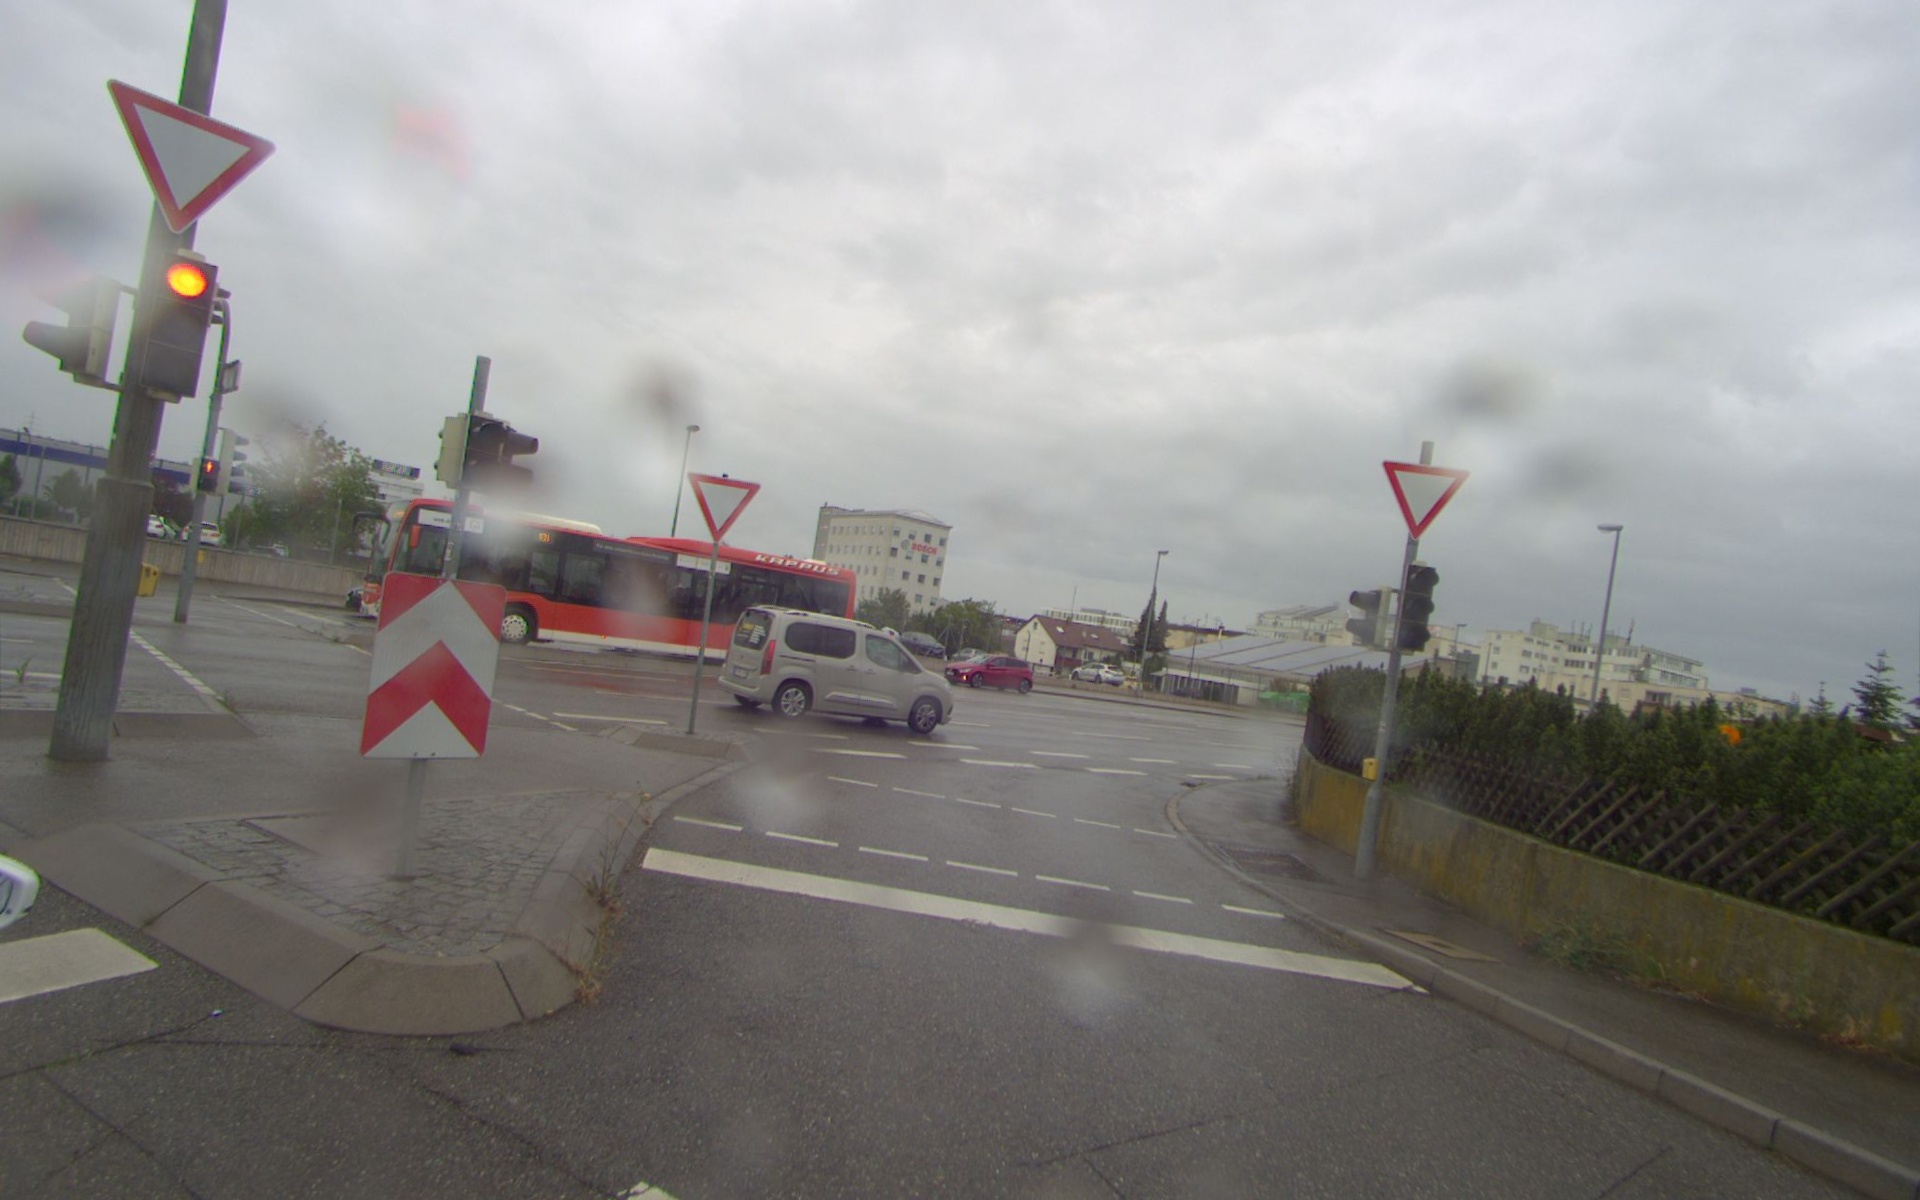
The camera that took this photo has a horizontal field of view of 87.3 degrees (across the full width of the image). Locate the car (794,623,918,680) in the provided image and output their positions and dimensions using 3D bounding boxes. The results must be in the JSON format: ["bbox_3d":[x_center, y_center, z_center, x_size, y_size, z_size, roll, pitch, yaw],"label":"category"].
[{"bbox_3d":[-3.896,1.981,38.186,4.367,1.555,1.804,10,-3,-42],"label":"car"}]

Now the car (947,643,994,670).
[{"bbox_3d":[0.812,4.696,83.665,1.980,1.636,3.970,9,-2,-30],"label":"car"}]

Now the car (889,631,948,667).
[{"bbox_3d":[-2.584,2.981,61.639,1.912,1.684,3.869,9,-2,-29],"label":"car"}]

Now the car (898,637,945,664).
[{"bbox_3d":[-3.155,4.080,81.378,1.980,1.636,3.970,9,-2,-30],"label":"car"}]

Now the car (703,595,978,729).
[{"bbox_3d":[-2.096,1.172,18.324,4.450,1.865,1.979,9,-2,-38],"label":"car"}]

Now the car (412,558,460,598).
[{"bbox_3d":[-30.712,-1.321,58.957,1.734,2.037,3.786,8,-2,-37],"label":"car"}]

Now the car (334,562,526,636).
[{"bbox_3d":[-14.829,-0.004,28.281,4.367,1.370,1.804,10,-3,-42],"label":"car"}]

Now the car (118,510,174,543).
[{"bbox_3d":[-45.618,-4.103,56.446,1.805,1.450,4.071,8,-2,-32],"label":"car"}]

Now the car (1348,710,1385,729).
[{"bbox_3d":[41.325,12.170,102.329,3.616,1.436,1.720,10,-2,-36],"label":"car"}]

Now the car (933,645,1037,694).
[{"bbox_3d":[1.068,2.923,42.142,3.948,1.525,1.853,9,-2,-36],"label":"car"}]

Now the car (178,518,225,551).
[{"bbox_3d":[-43.831,-3.750,58.214,1.847,1.543,4.066,8,-2,-35],"label":"car"}]

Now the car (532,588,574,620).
[{"bbox_3d":[-32.008,0.294,79.039,1.983,2.037,3.962,8,-2,-36],"label":"car"}]

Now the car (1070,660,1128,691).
[{"bbox_3d":[9.649,5.226,70.117,1.976,1.561,3.977,9,-2,-25],"label":"car"}]

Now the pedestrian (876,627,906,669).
[{"bbox_3d":[-3.047,2.095,44.138,0.819,1.723,0.893,8,-1,-30],"label":"pedestrian"}]

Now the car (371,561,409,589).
[{"bbox_3d":[-41.526,-1.828,73.270,1.912,1.607,3.754,9,-2,-34],"label":"car"}]

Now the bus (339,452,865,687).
[{"bbox_3d":[-8.412,-0.367,25.828,12.223,3.614,2.952,12,-4,-41],"label":"bus"}]
